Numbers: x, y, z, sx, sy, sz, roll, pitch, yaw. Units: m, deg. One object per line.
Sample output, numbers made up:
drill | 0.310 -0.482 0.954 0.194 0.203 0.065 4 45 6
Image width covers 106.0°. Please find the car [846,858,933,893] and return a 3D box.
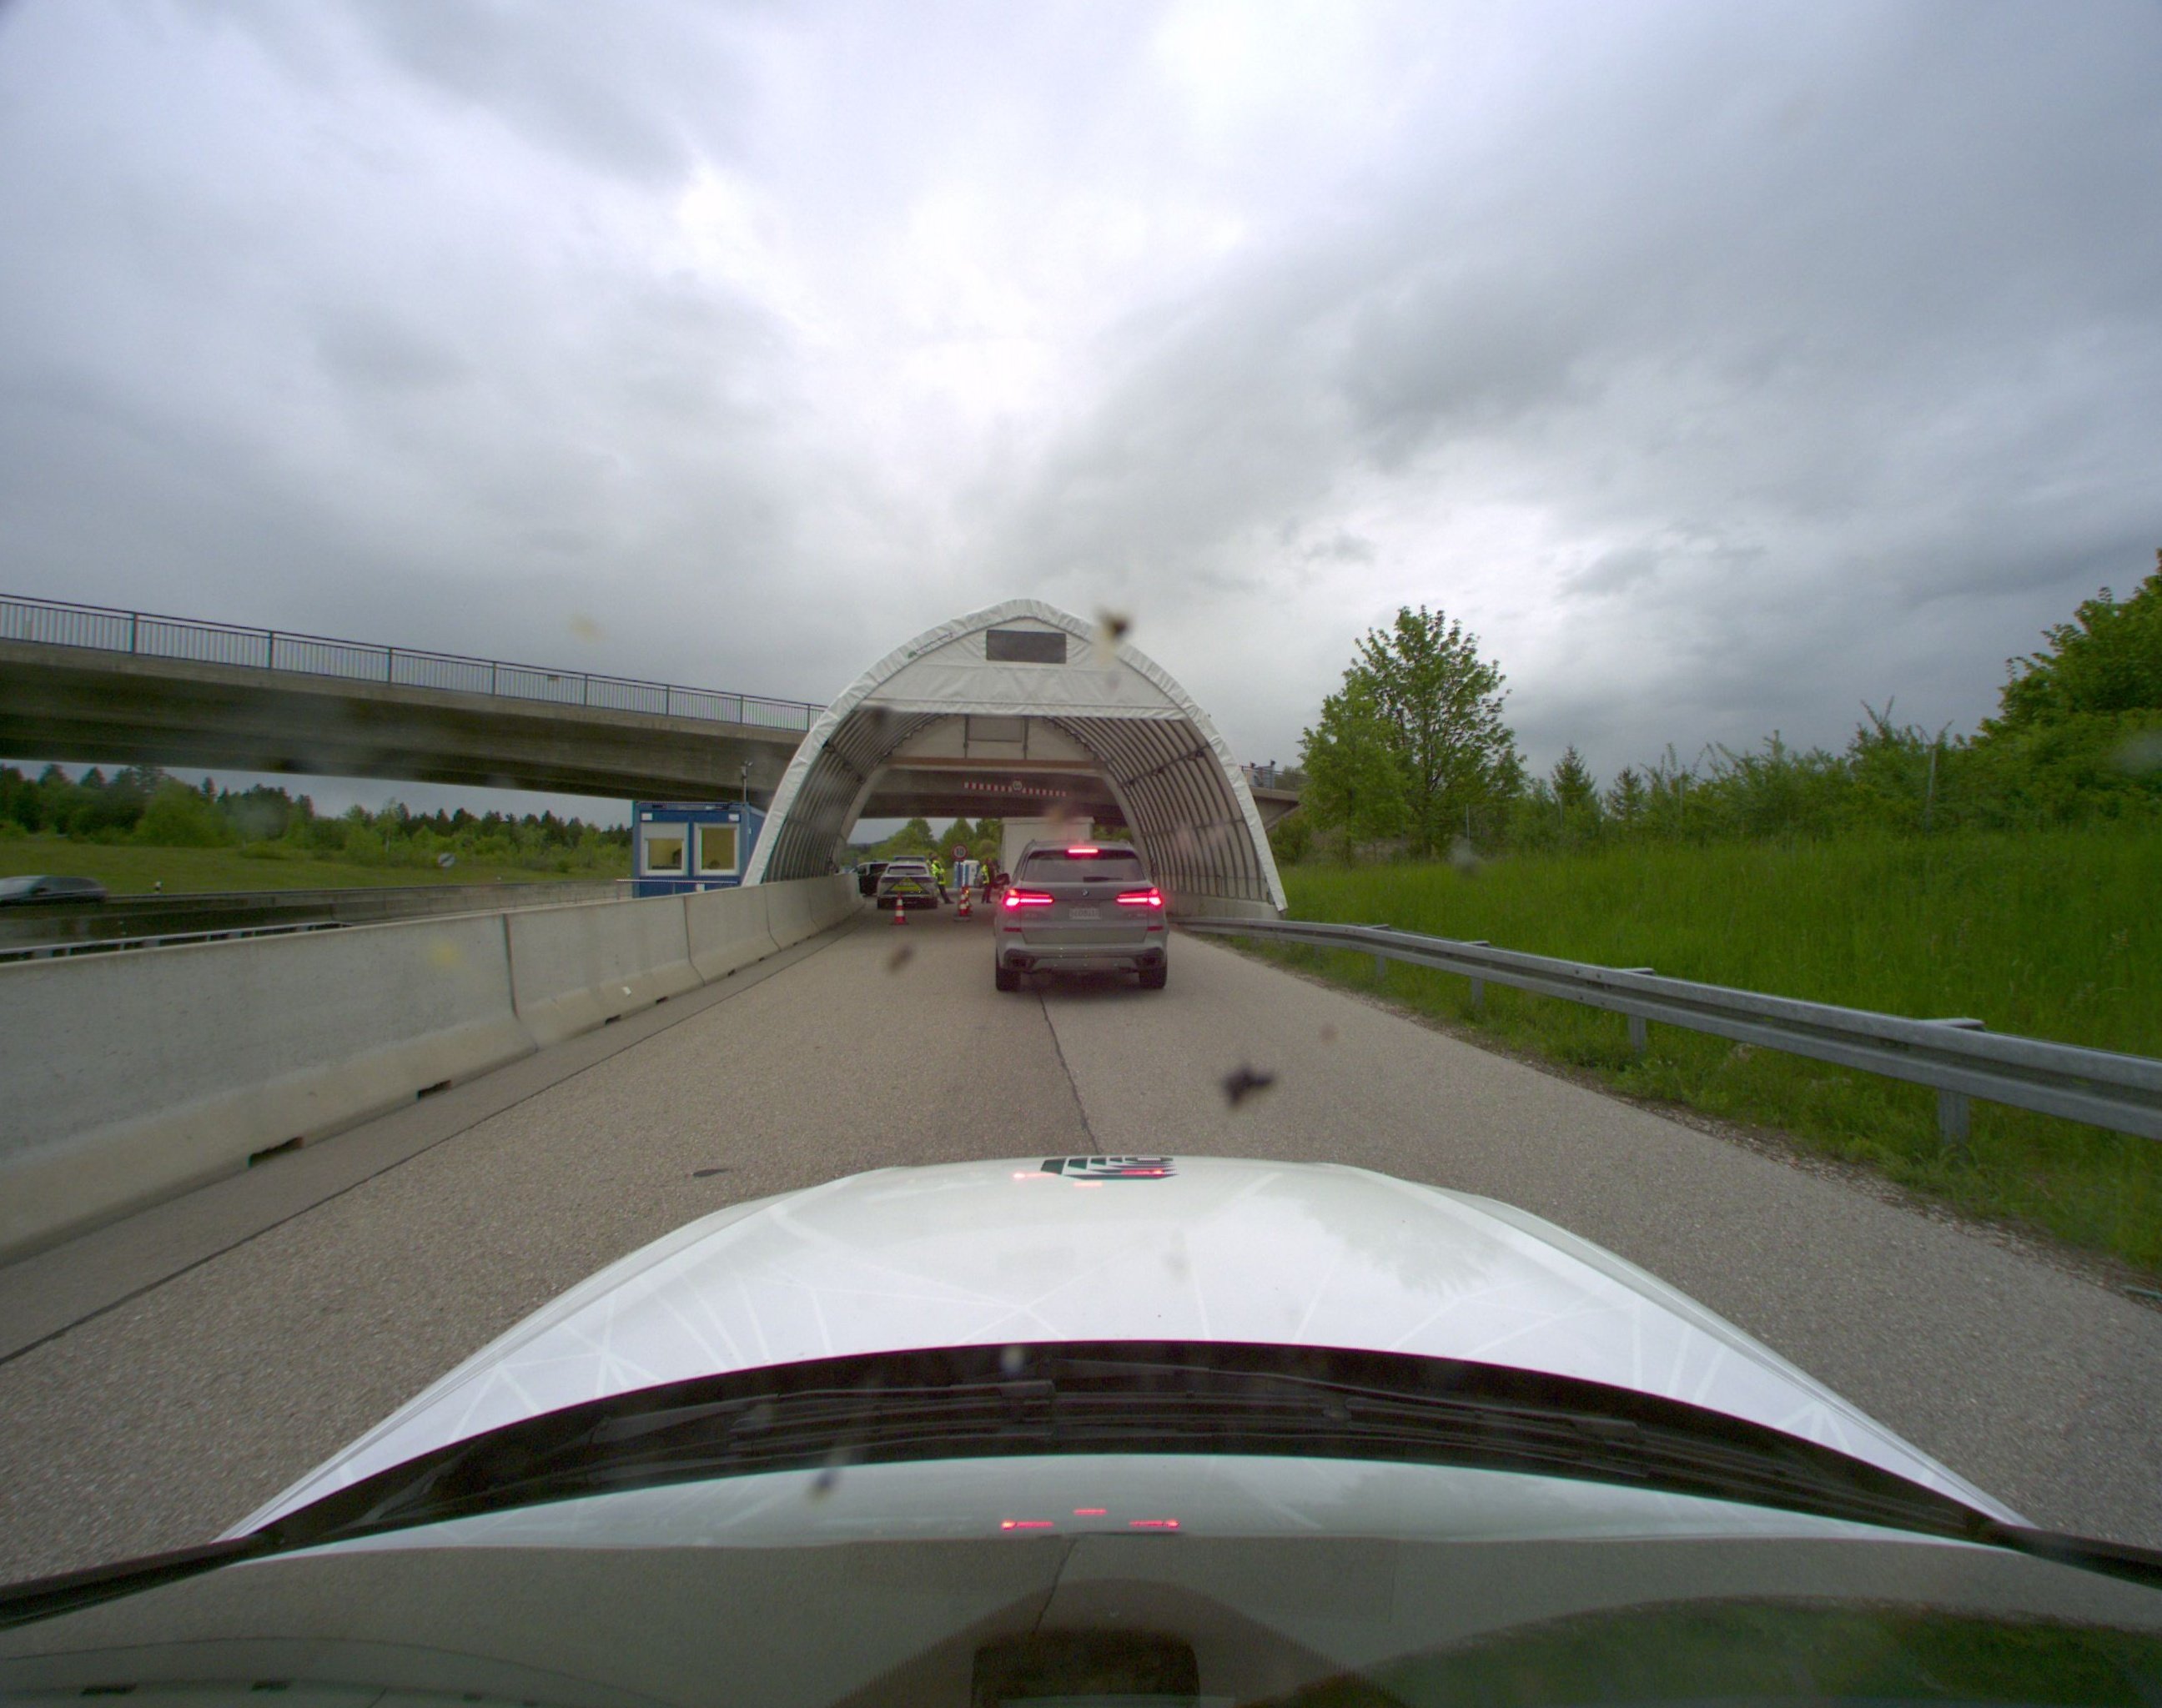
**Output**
car | -11.578 1.293 49.354 4.777 2.014 1.845 -1 -1 9

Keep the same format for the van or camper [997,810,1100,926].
van or camper | -1.051 0.352 21.565 2.227 2.552 6.595 -1 -1 -6

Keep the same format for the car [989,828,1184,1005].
car | -0.148 0.664 10.466 1.992 1.765 3.990 -1 -1 -7

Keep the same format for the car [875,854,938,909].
car | -5.774 0.872 27.019 1.879 1.647 3.983 -1 -1 -12

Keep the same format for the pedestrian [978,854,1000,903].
pedestrian | -3.350 0.885 29.538 0.754 1.722 0.780 -1 -1 -8

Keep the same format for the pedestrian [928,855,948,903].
pedestrian | -5.287 0.910 30.188 0.607 1.754 0.665 -1 -1 -4

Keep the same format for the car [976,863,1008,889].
car | -6.480 1.572 58.698 1.994 1.722 3.882 -1 -1 -11

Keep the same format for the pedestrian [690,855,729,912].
pedestrian | -9.242 0.731 20.295 0.606 1.373 0.629 -2 -1 10

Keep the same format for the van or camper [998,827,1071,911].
van or camper | -1.687 0.491 27.659 2.102 2.519 5.537 -1 -1 -7

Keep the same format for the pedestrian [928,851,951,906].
pedestrian | -5.077 0.867 29.190 0.750 1.919 0.759 -1 -1 -13

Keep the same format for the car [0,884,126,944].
car | -38.279 2.159 29.627 1.987 1.955 5.084 -1 -1 -14

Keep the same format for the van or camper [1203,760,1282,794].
van or camper | 10.625 -5.020 53.390 5.477 1.770 1.875 0 -1 -37
